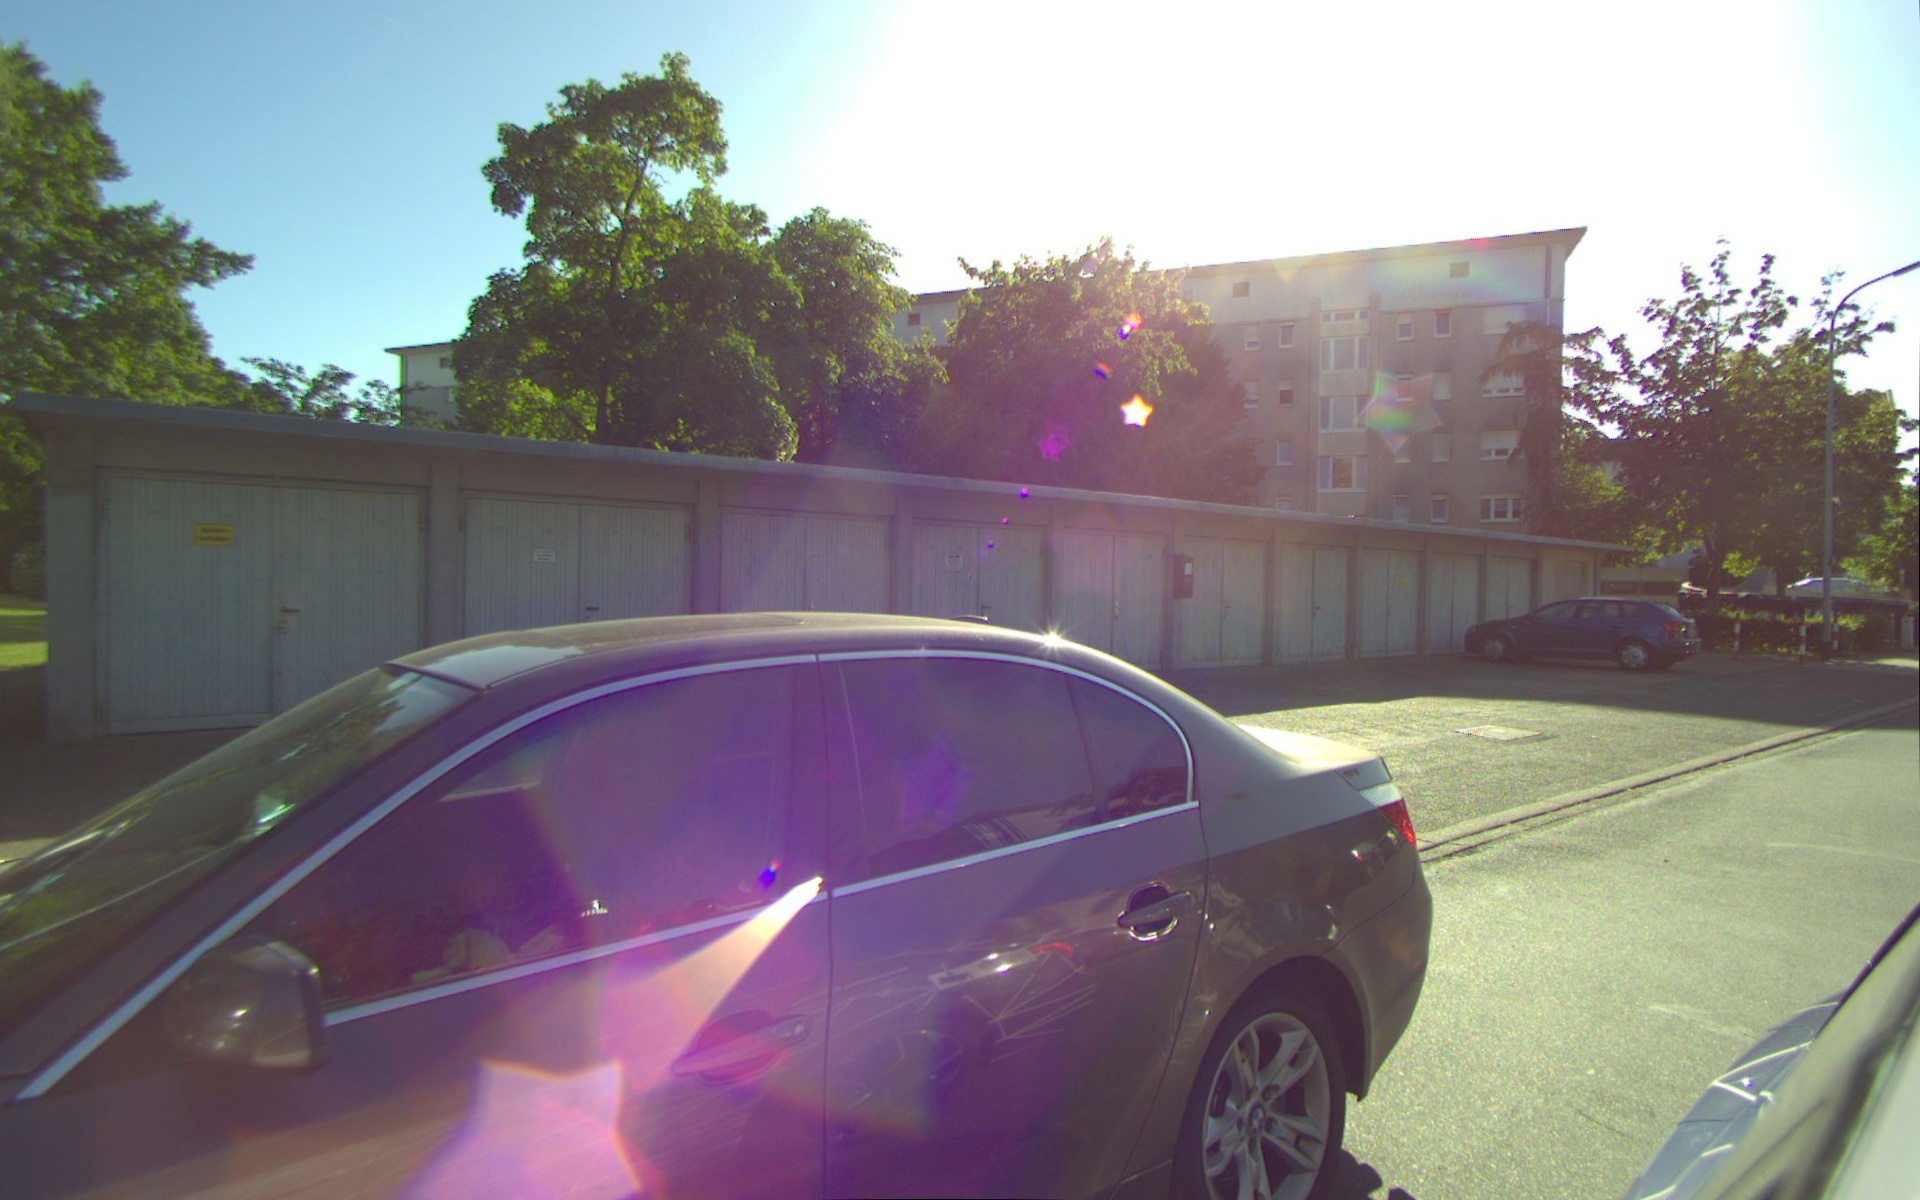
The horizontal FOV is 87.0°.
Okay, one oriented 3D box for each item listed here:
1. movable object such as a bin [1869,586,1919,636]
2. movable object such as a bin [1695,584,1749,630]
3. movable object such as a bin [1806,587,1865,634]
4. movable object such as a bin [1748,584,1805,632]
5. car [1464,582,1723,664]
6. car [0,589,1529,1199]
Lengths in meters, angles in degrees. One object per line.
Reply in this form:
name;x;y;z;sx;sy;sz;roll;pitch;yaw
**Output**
movable object such as a bin;28.930;0.316;31.118;1.052;1.445;1.326;0;3;-43
movable object such as a bin;25.910;0.221;34.423;1.012;1.499;1.323;0;0;-43
movable object such as a bin;27.933;0.332;32.299;1.012;1.449;1.326;0;0;-43
movable object such as a bin;26.951;0.249;33.418;1.012;1.556;1.326;0;0;-43
car;12.888;0.387;20.796;1.786;1.513;4.191;0;1;-40
car;-0.728;0.699;2.289;4.549;1.436;1.806;0;0;-36
